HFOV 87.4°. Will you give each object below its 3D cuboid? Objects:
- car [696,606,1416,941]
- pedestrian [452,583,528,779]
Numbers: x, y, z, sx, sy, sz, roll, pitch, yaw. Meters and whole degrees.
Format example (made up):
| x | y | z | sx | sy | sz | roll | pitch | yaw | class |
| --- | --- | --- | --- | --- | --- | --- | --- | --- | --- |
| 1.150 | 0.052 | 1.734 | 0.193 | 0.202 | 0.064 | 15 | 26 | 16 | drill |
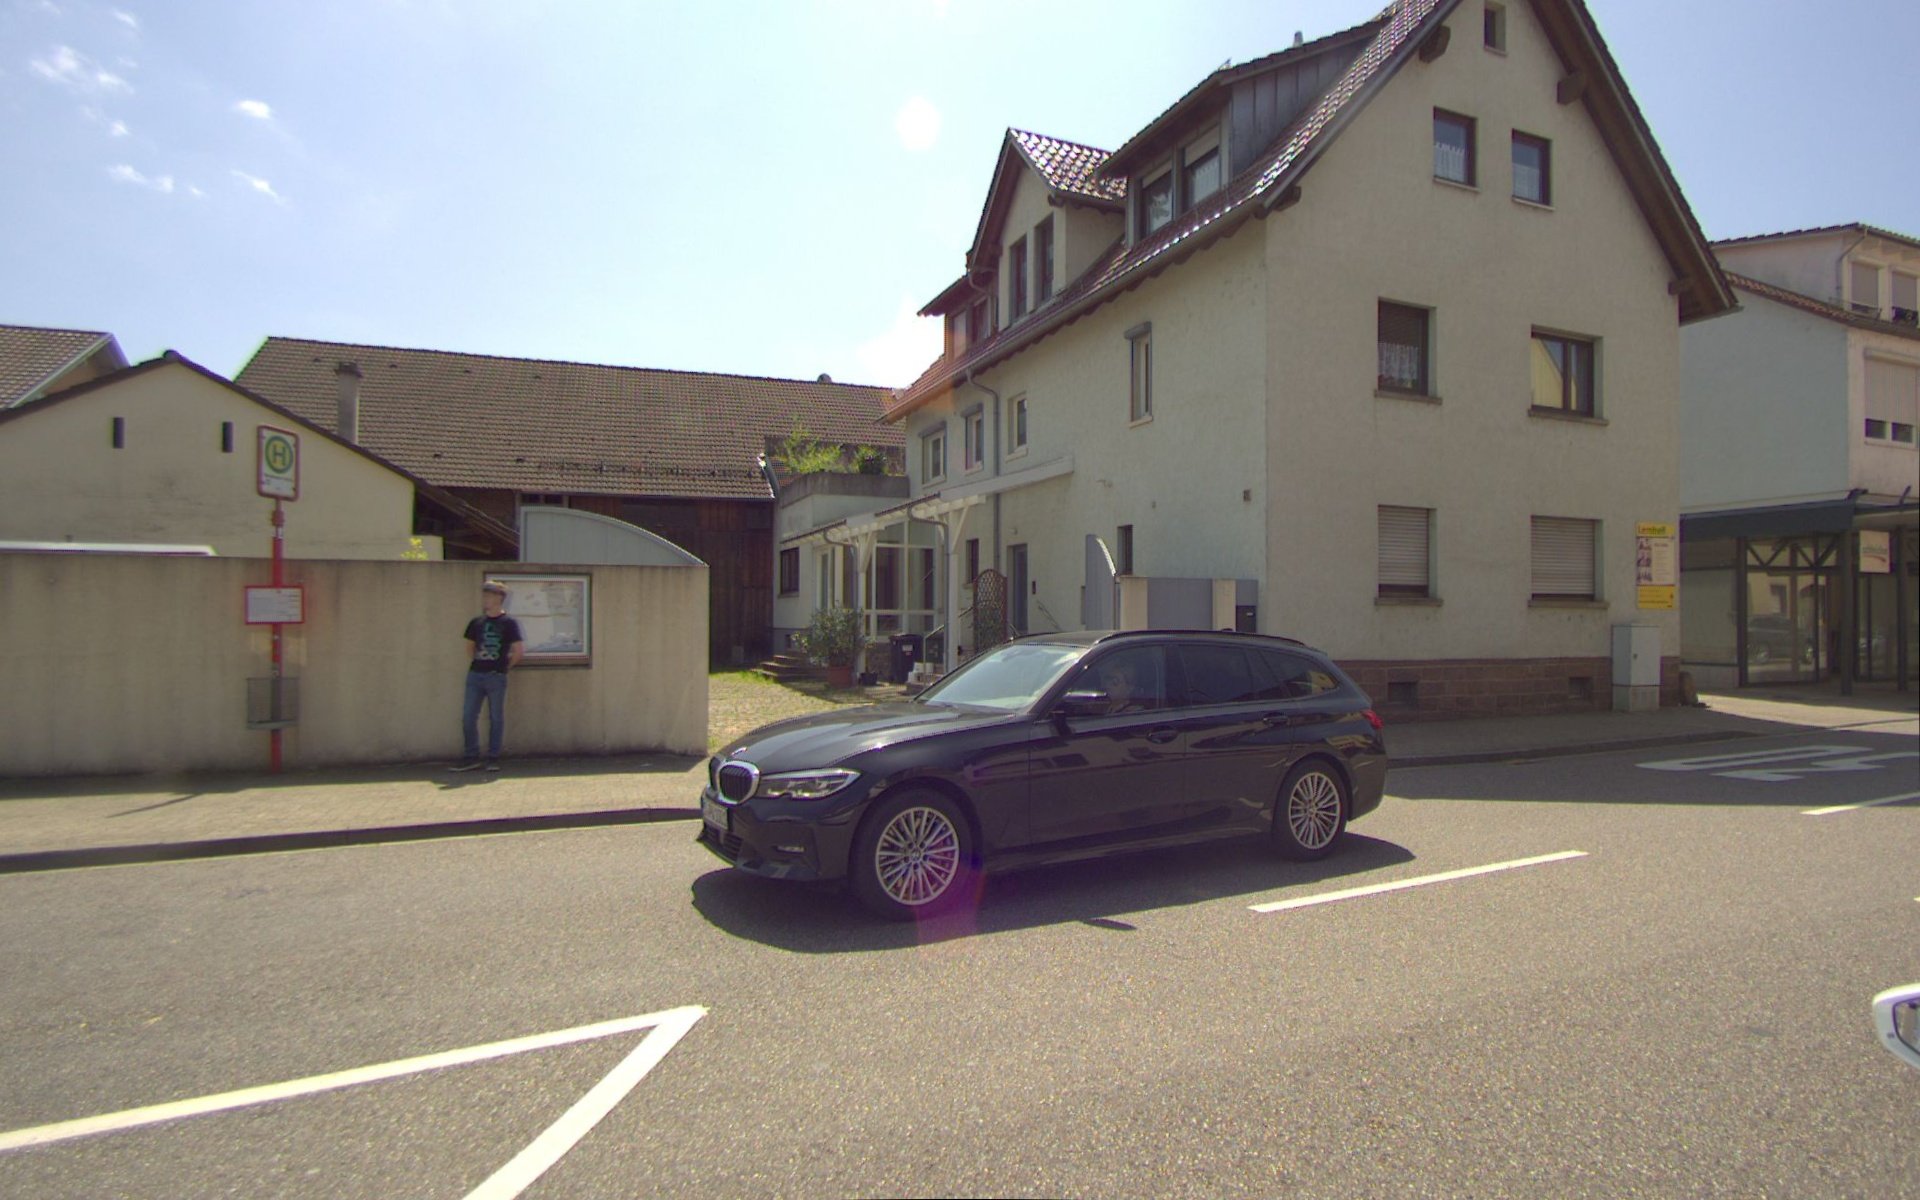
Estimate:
| x | y | z | sx | sy | sz | roll | pitch | yaw | class |
| --- | --- | --- | --- | --- | --- | --- | --- | --- | --- |
| 0.723 | 0.871 | 6.429 | 4.368 | 1.512 | 1.786 | 2 | -3 | -30 | car |
| -4.403 | 0.741 | 9.440 | 0.547 | 1.788 | 0.434 | 0 | -1 | -12 | pedestrian |
